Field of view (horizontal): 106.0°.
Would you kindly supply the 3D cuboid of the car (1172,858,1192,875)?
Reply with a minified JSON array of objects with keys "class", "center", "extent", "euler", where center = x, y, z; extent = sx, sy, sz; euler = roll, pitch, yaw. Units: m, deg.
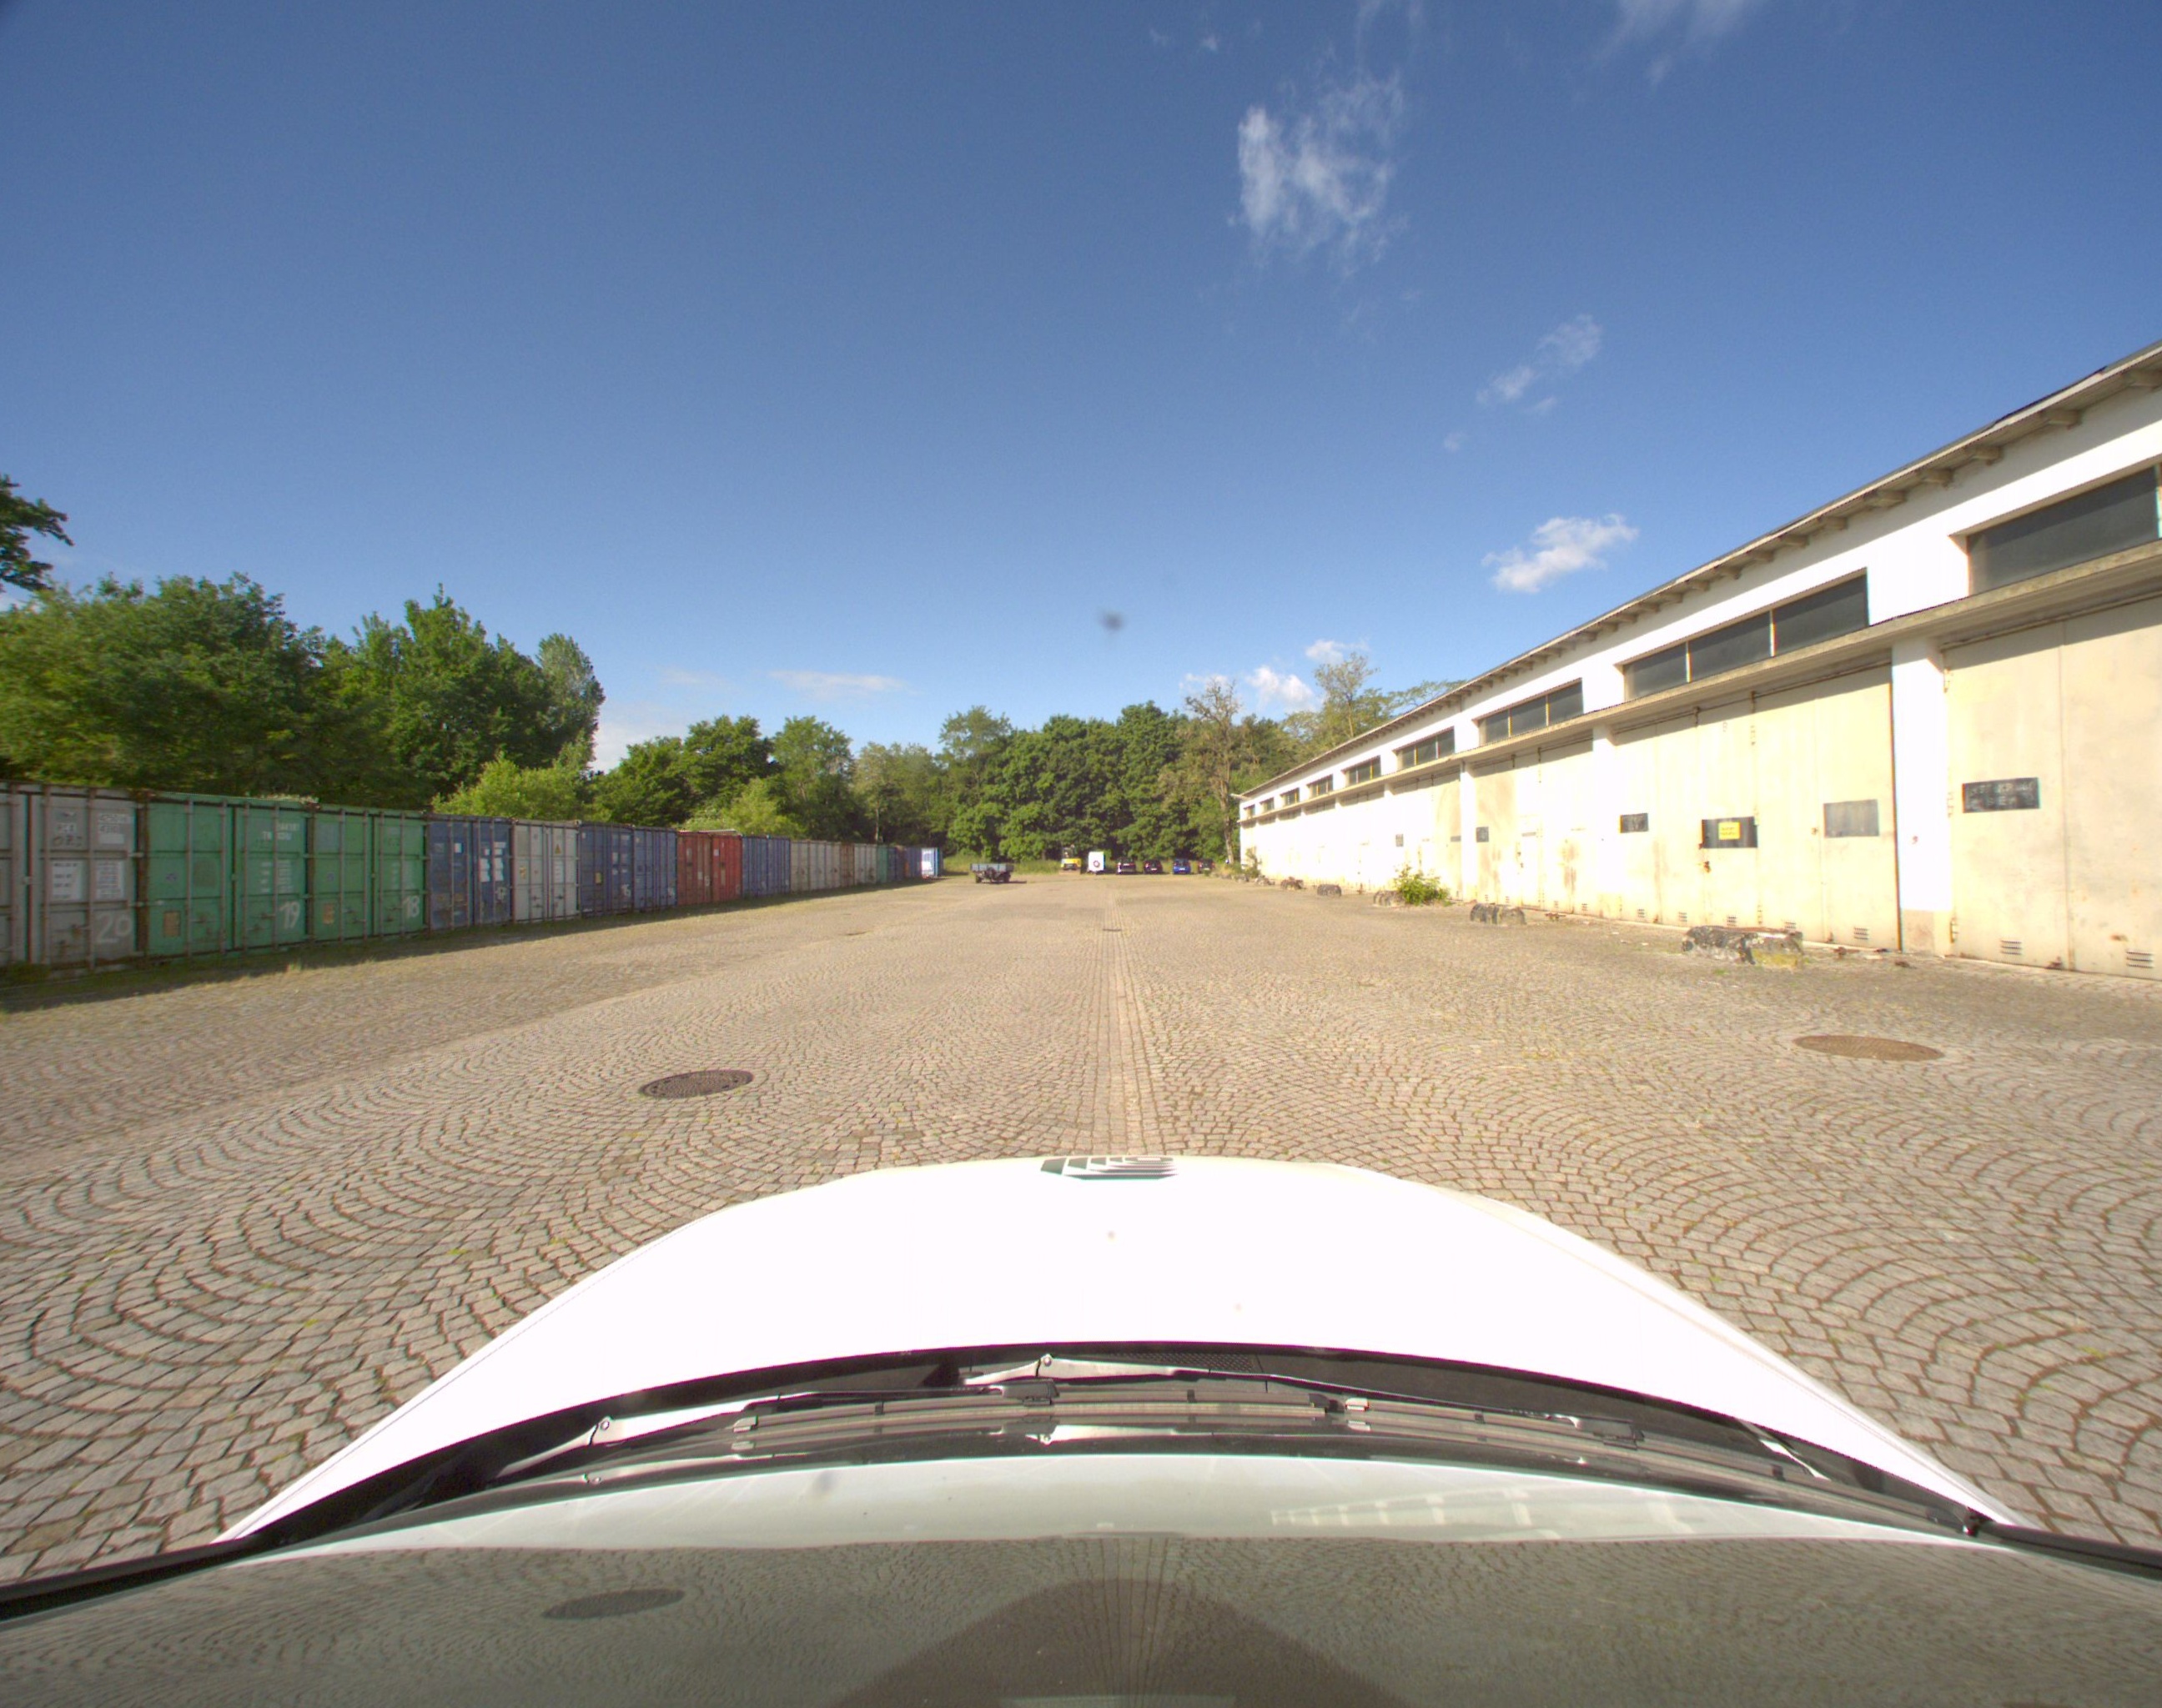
[{"class":"car","center":[9.345,1.095,75.461],"extent":[1.735,1.436,4.191],"euler":[1,1,7]}]

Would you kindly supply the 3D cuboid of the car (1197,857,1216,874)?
[{"class":"car","center":[11.834,1.033,76.822],"extent":[1.734,1.436,4.193],"euler":[1,1,9]}]

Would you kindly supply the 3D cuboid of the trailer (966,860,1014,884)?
[{"class":"trailer","center":[-6.351,1.218,57.742],"extent":[2.696,1.465,6.247],"euler":[0,0,0]}]

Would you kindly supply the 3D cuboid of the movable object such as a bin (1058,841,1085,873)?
[{"class":"movable object such as a bin","center":[-0.881,0.219,78.337],"extent":[2.297,2.896,5.755],"euler":[1,1,2]}]

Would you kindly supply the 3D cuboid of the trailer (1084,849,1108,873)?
[{"class":"trailer","center":[1.475,0.627,77.693],"extent":[2.185,2.094,5.753],"euler":[0,1,1]}]

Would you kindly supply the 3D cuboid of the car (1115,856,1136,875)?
[{"class":"car","center":[4.096,1.019,75.259],"extent":[1.857,1.589,4.297],"euler":[0,1,1]}]

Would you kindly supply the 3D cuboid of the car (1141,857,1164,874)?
[{"class":"car","center":[6.590,1.041,75.577],"extent":[1.857,1.470,4.297],"euler":[0,1,1]}]
